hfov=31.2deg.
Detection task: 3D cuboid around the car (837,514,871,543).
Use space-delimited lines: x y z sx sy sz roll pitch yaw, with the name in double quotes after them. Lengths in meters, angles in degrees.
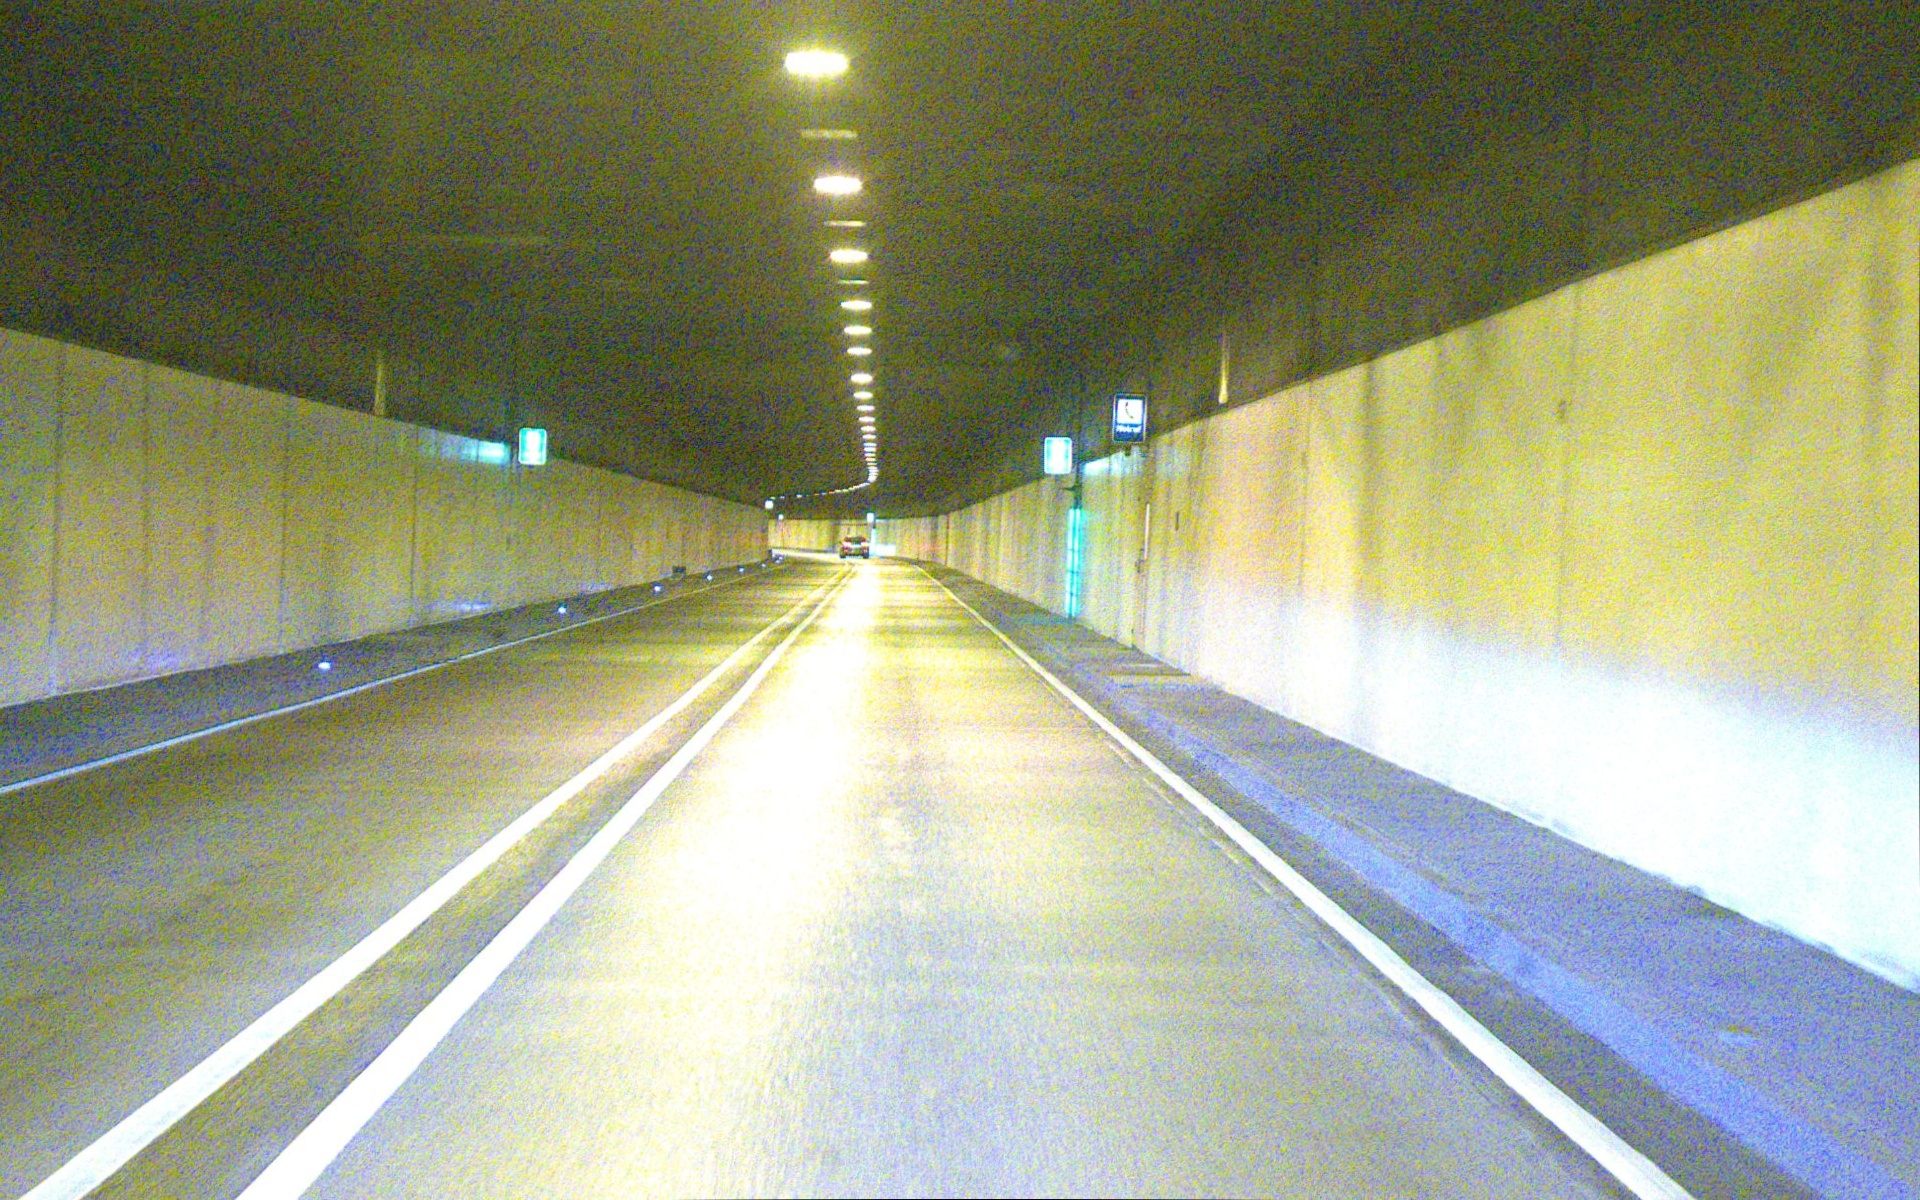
-7.257 -4.882 235.092 1.966 1.932 4.613 1 1 -6 "car"
